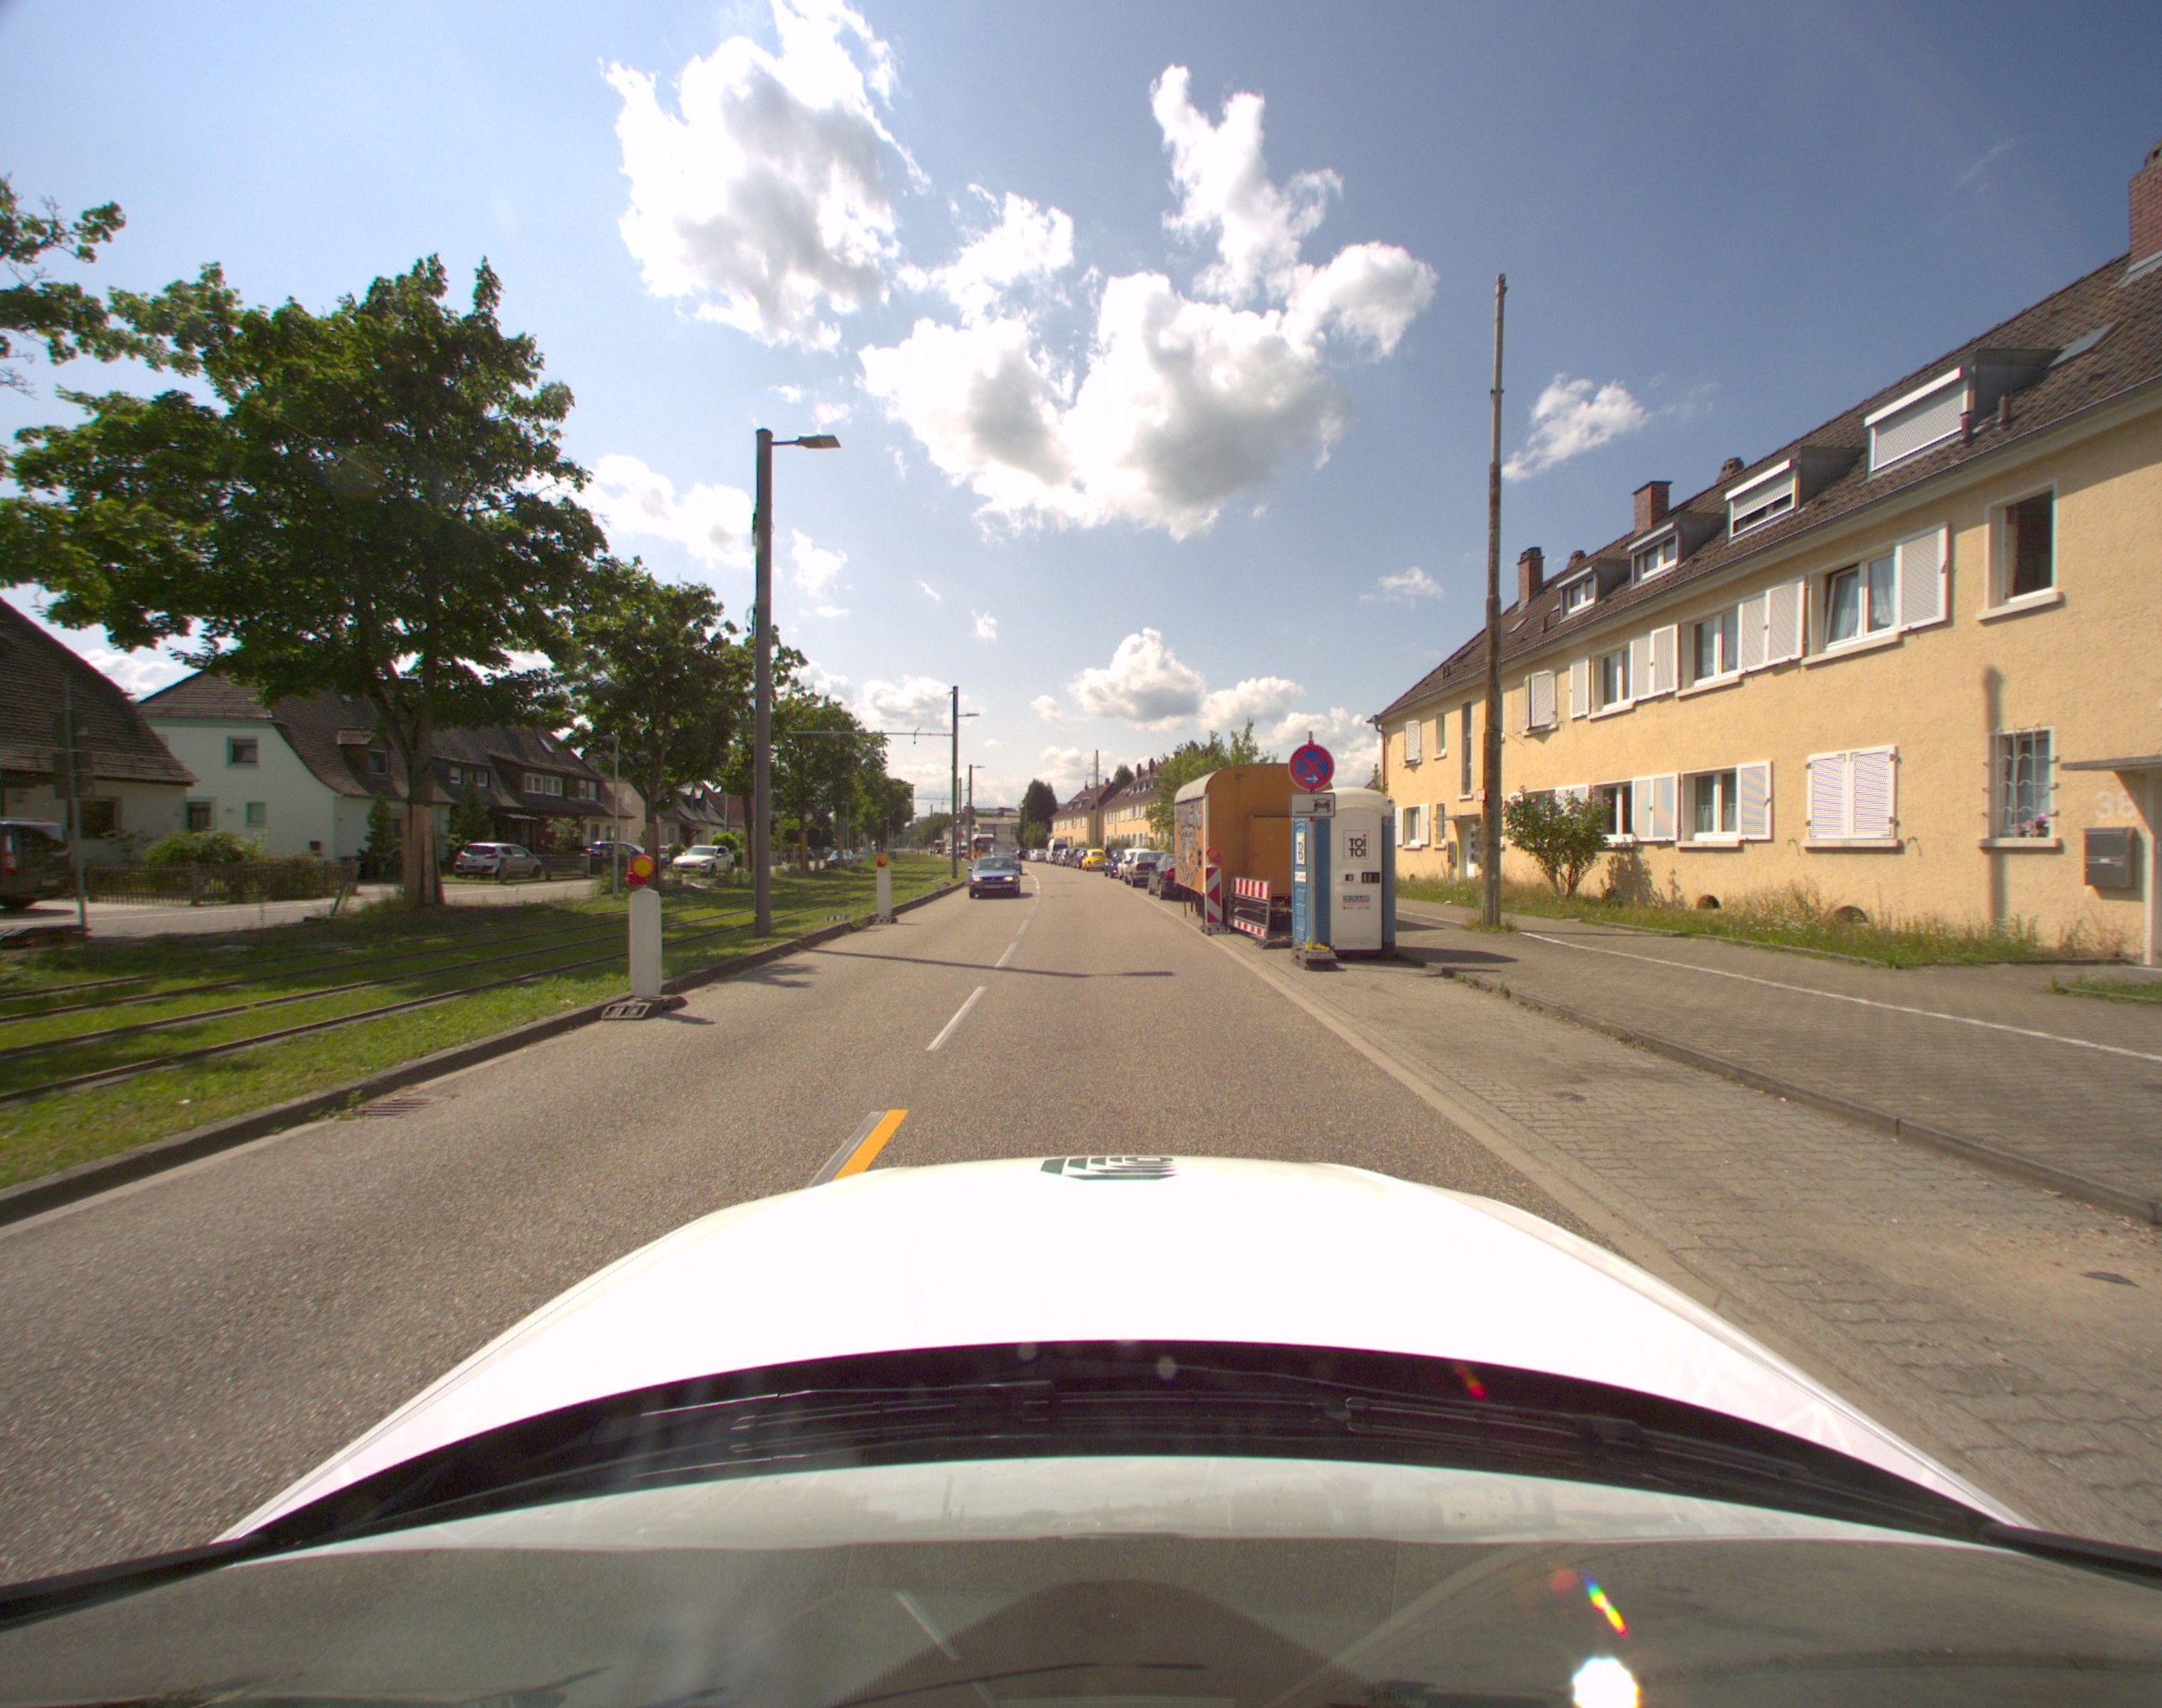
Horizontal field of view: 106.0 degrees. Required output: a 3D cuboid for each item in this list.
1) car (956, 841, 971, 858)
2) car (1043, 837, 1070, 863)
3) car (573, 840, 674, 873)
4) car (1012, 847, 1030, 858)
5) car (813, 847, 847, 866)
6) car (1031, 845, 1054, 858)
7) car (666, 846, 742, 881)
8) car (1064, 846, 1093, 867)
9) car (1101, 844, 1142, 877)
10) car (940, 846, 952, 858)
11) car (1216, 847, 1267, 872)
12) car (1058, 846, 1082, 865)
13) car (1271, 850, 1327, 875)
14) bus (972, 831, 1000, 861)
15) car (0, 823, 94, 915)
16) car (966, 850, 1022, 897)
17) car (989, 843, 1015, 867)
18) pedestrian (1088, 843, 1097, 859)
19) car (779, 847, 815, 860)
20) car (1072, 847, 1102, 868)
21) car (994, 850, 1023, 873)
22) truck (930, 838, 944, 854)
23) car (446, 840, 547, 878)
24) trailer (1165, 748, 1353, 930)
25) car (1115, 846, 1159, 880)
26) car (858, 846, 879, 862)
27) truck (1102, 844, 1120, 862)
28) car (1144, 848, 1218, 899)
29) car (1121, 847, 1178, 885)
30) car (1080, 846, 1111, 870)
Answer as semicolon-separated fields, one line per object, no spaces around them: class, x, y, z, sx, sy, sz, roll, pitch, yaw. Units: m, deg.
car;-18.194;-0.688;125.850;2.104;2.443;5.550;0;0;-11
car;-2.421;-0.408;80.576;1.929;2.480;5.499;-1;0;-9
car;-25.577;0.145;45.689;4.467;1.836;2.059;0;0;-8
car;-7.867;-0.232;107.169;1.766;1.417;3.983;-2;1;-13
car;-19.580;0.179;63.662;1.818;1.406;4.800;0;0;-8
car;-4.465;-0.249;93.250;1.801;1.458;4.743;-2;0;-14
car;-20.165;0.455;43.852;1.876;1.768;5.079;0;0;-2
car;-0.235;0.182;66.599;1.636;1.602;3.918;0;0;-10
car;2.110;0.317;43.567;1.547;1.641;4.238;0;0;-6
car;-21.288;-0.333;128.091;1.734;1.773;4.293;0;0;-10
car;8.997;0.285;45.997;1.635;1.374;4.077;0;0;-7
car;-0.978;0.088;70.419;1.635;1.602;4.018;0;0;-8
car;12.277;0.442;46.071;1.635;1.374;4.077;0;0;-7
bus;-11.985;-1.000;101.920;2.637;3.412;12.203;-1;1;-11
car;-24.351;0.255;17.226;3.898;1.897;1.929;2;0;-22
car;-2.983;0.640;28.558;1.661;1.449;3.955;-2;0;-3
car;-6.871;0.074;70.447;1.955;1.966;5.277;-1;0;-9
pedestrian;1.171;-0.321;85.111;0.853;1.652;0.635;1;0;-8
car;-34.972;-0.068;100.435;3.995;1.571;1.785;0;0;-16
car;0.410;0.258;61.263;1.635;1.482;4.113;0;0;-8
car;-4.683;0.467;52.386;1.723;1.389;4.111;0;0;-7
truck;-32.859;-1.790;185.525;2.564;3.459;7.115;-2;1;-14
car;-24.945;0.207;34.932;1.726;1.517;4.035;0;0;-6
trailer;3.436;-0.273;17.025;2.683;3.226;5.078;0;0;-2
car;2.582;0.370;38.454;1.574;1.513;4.455;0;0;-3
car;-21.804;0.009;83.739;1.812;1.586;4.549;-2;1;-12
truck;2.913;-0.119;79.014;1.346;1.688;2.434;0;0;-9
car;3.035;0.549;25.608;1.574;1.449;4.448;0;0;-3
car;2.730;0.439;33.362;1.703;1.449;4.830;0;0;-3
car;0.958;0.214;55.842;1.634;1.482;3.923;-3;1;-6
